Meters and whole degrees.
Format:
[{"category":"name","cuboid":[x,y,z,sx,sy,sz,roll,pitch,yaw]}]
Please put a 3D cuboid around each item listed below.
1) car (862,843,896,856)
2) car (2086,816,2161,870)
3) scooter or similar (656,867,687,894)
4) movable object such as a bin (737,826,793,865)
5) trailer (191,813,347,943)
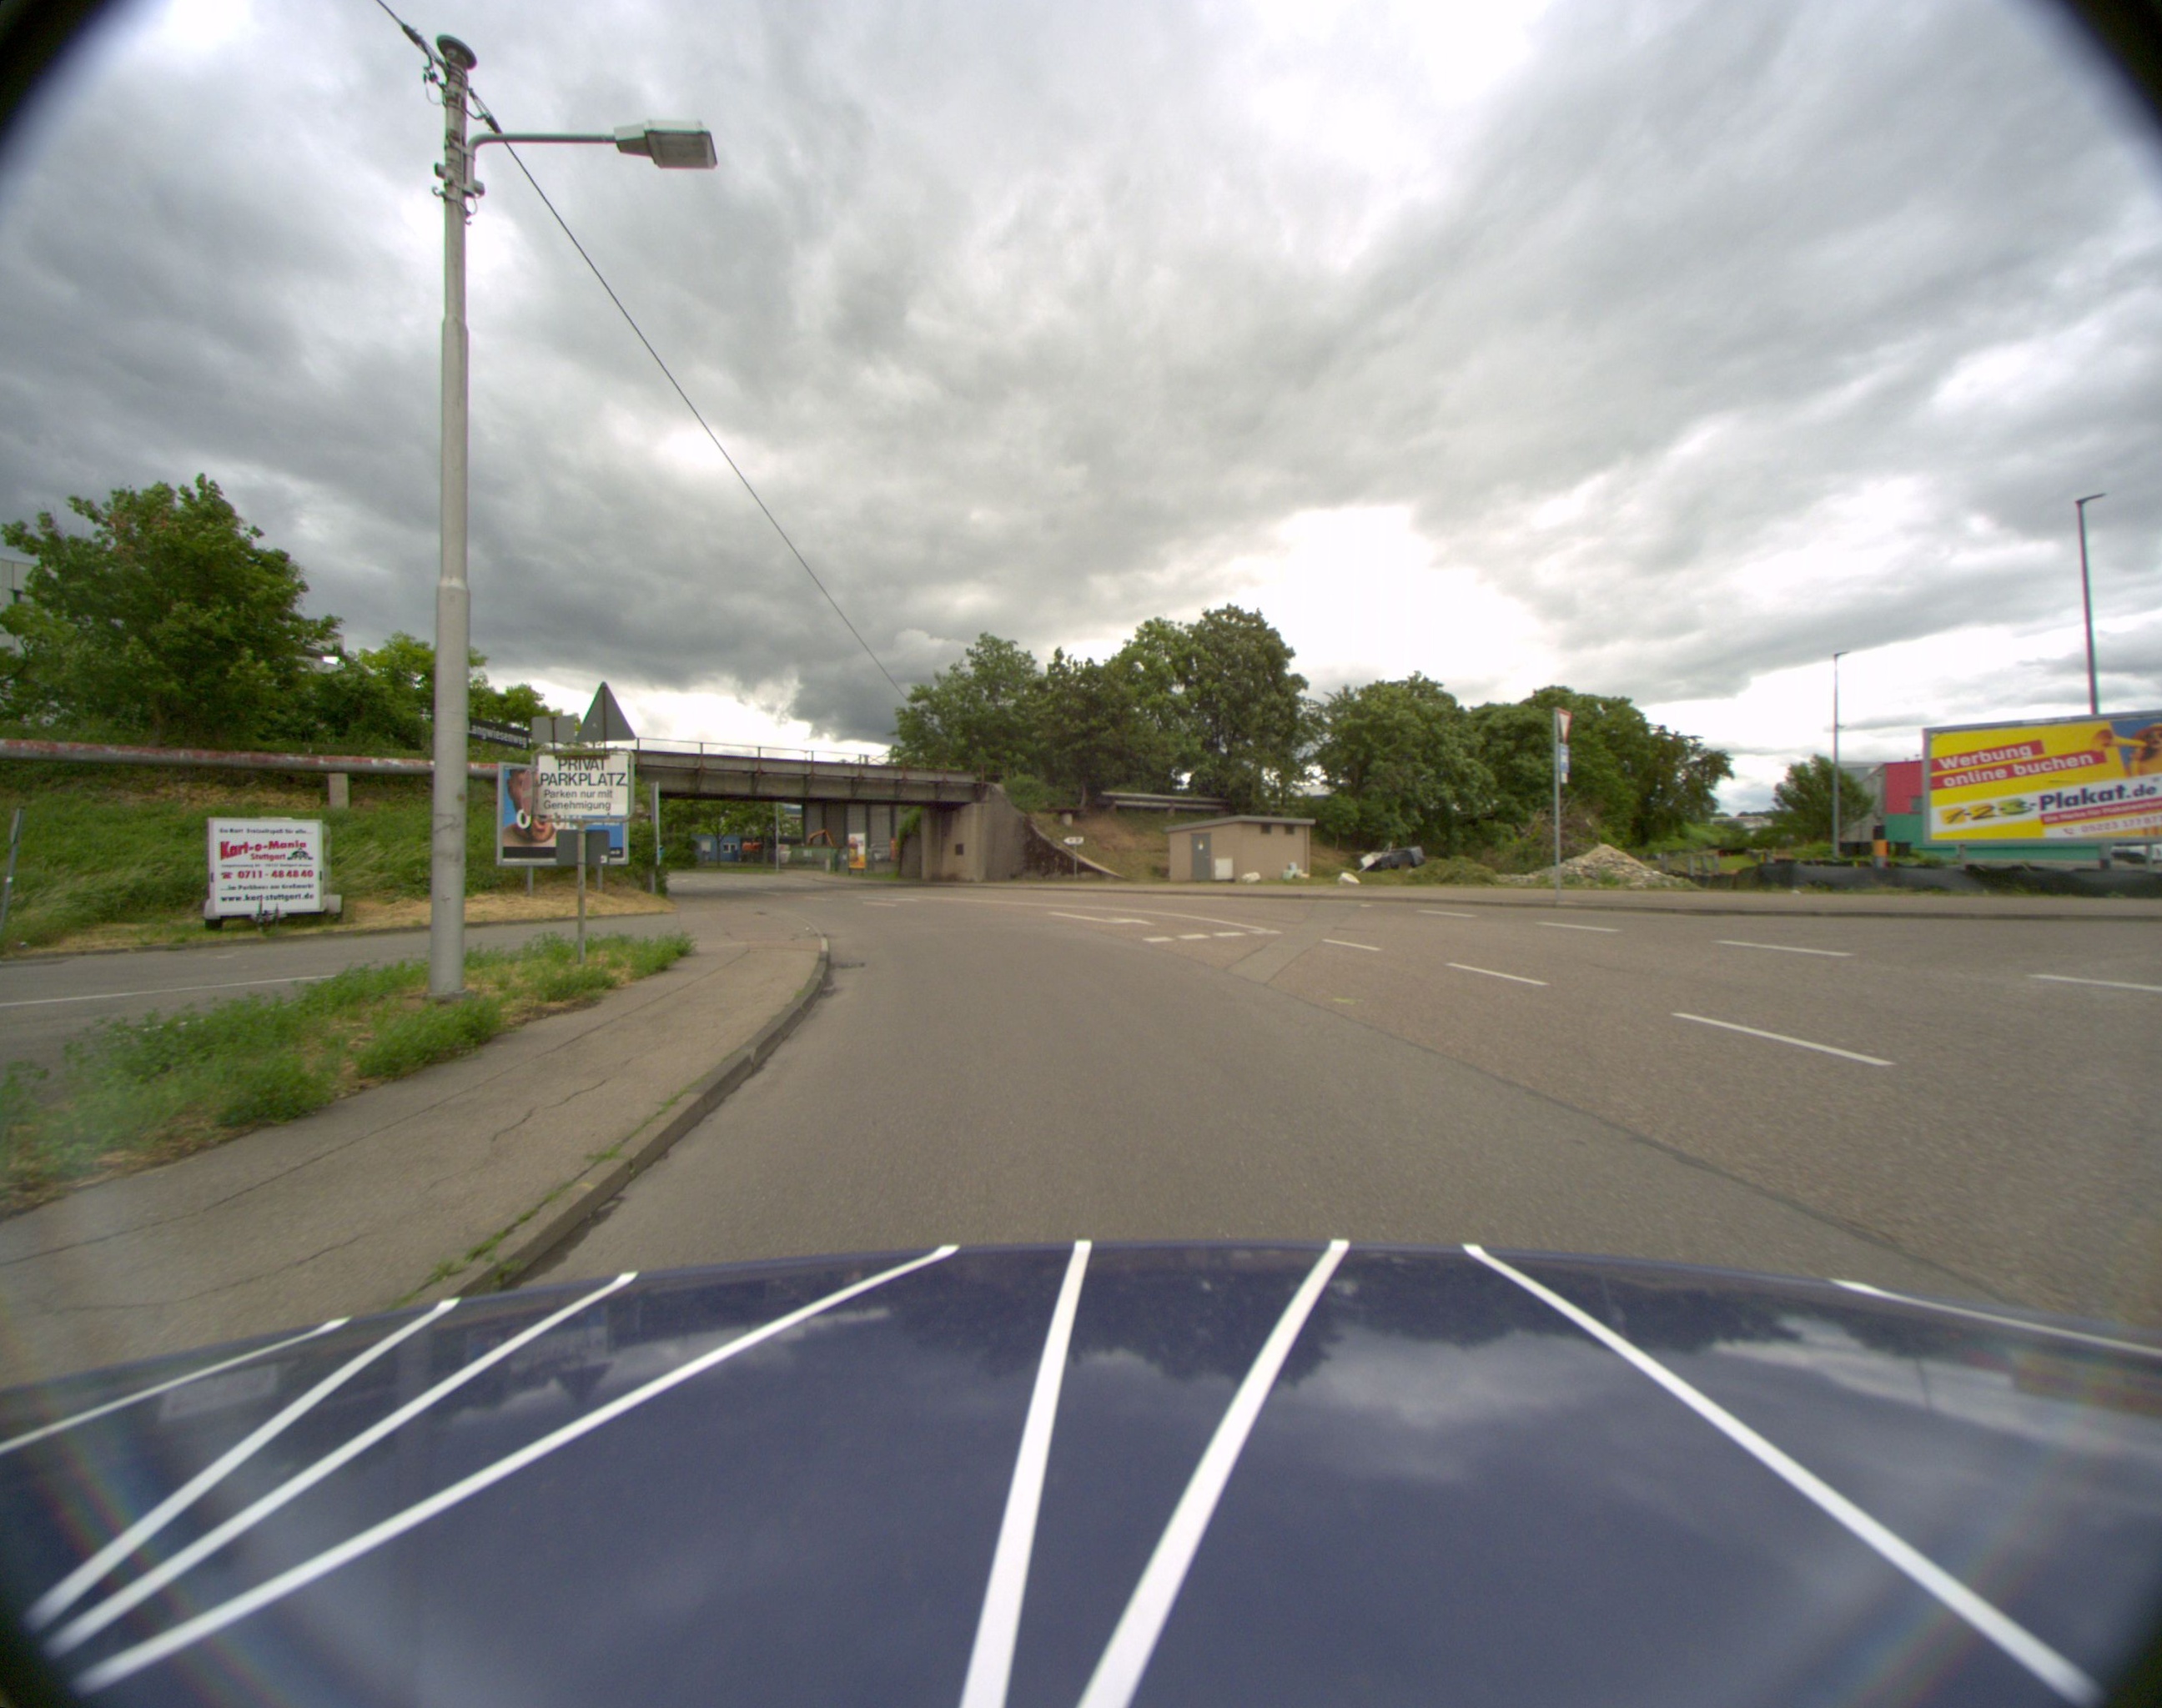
[{"category":"car","cuboid":[-22.575,-0.495,84.866,3.988,1.366,1.742,0,0,42]},{"category":"car","cuboid":[32.134,-0.342,21.501,3.990,1.526,2.003,-1,0,25]},{"category":"scooter or similar","cuboid":[-18.817,1.209,34.891,1.665,1.228,0.507,0,-3,36]},{"category":"movable object such as a bin","cuboid":[-35.320,-0.885,84.868,6.534,4.066,2.740,-1,-1,35]},{"category":"trailer","cuboid":[-17.060,0.439,16.175,1.814,2.384,4.402,-2,1,-42]}]
